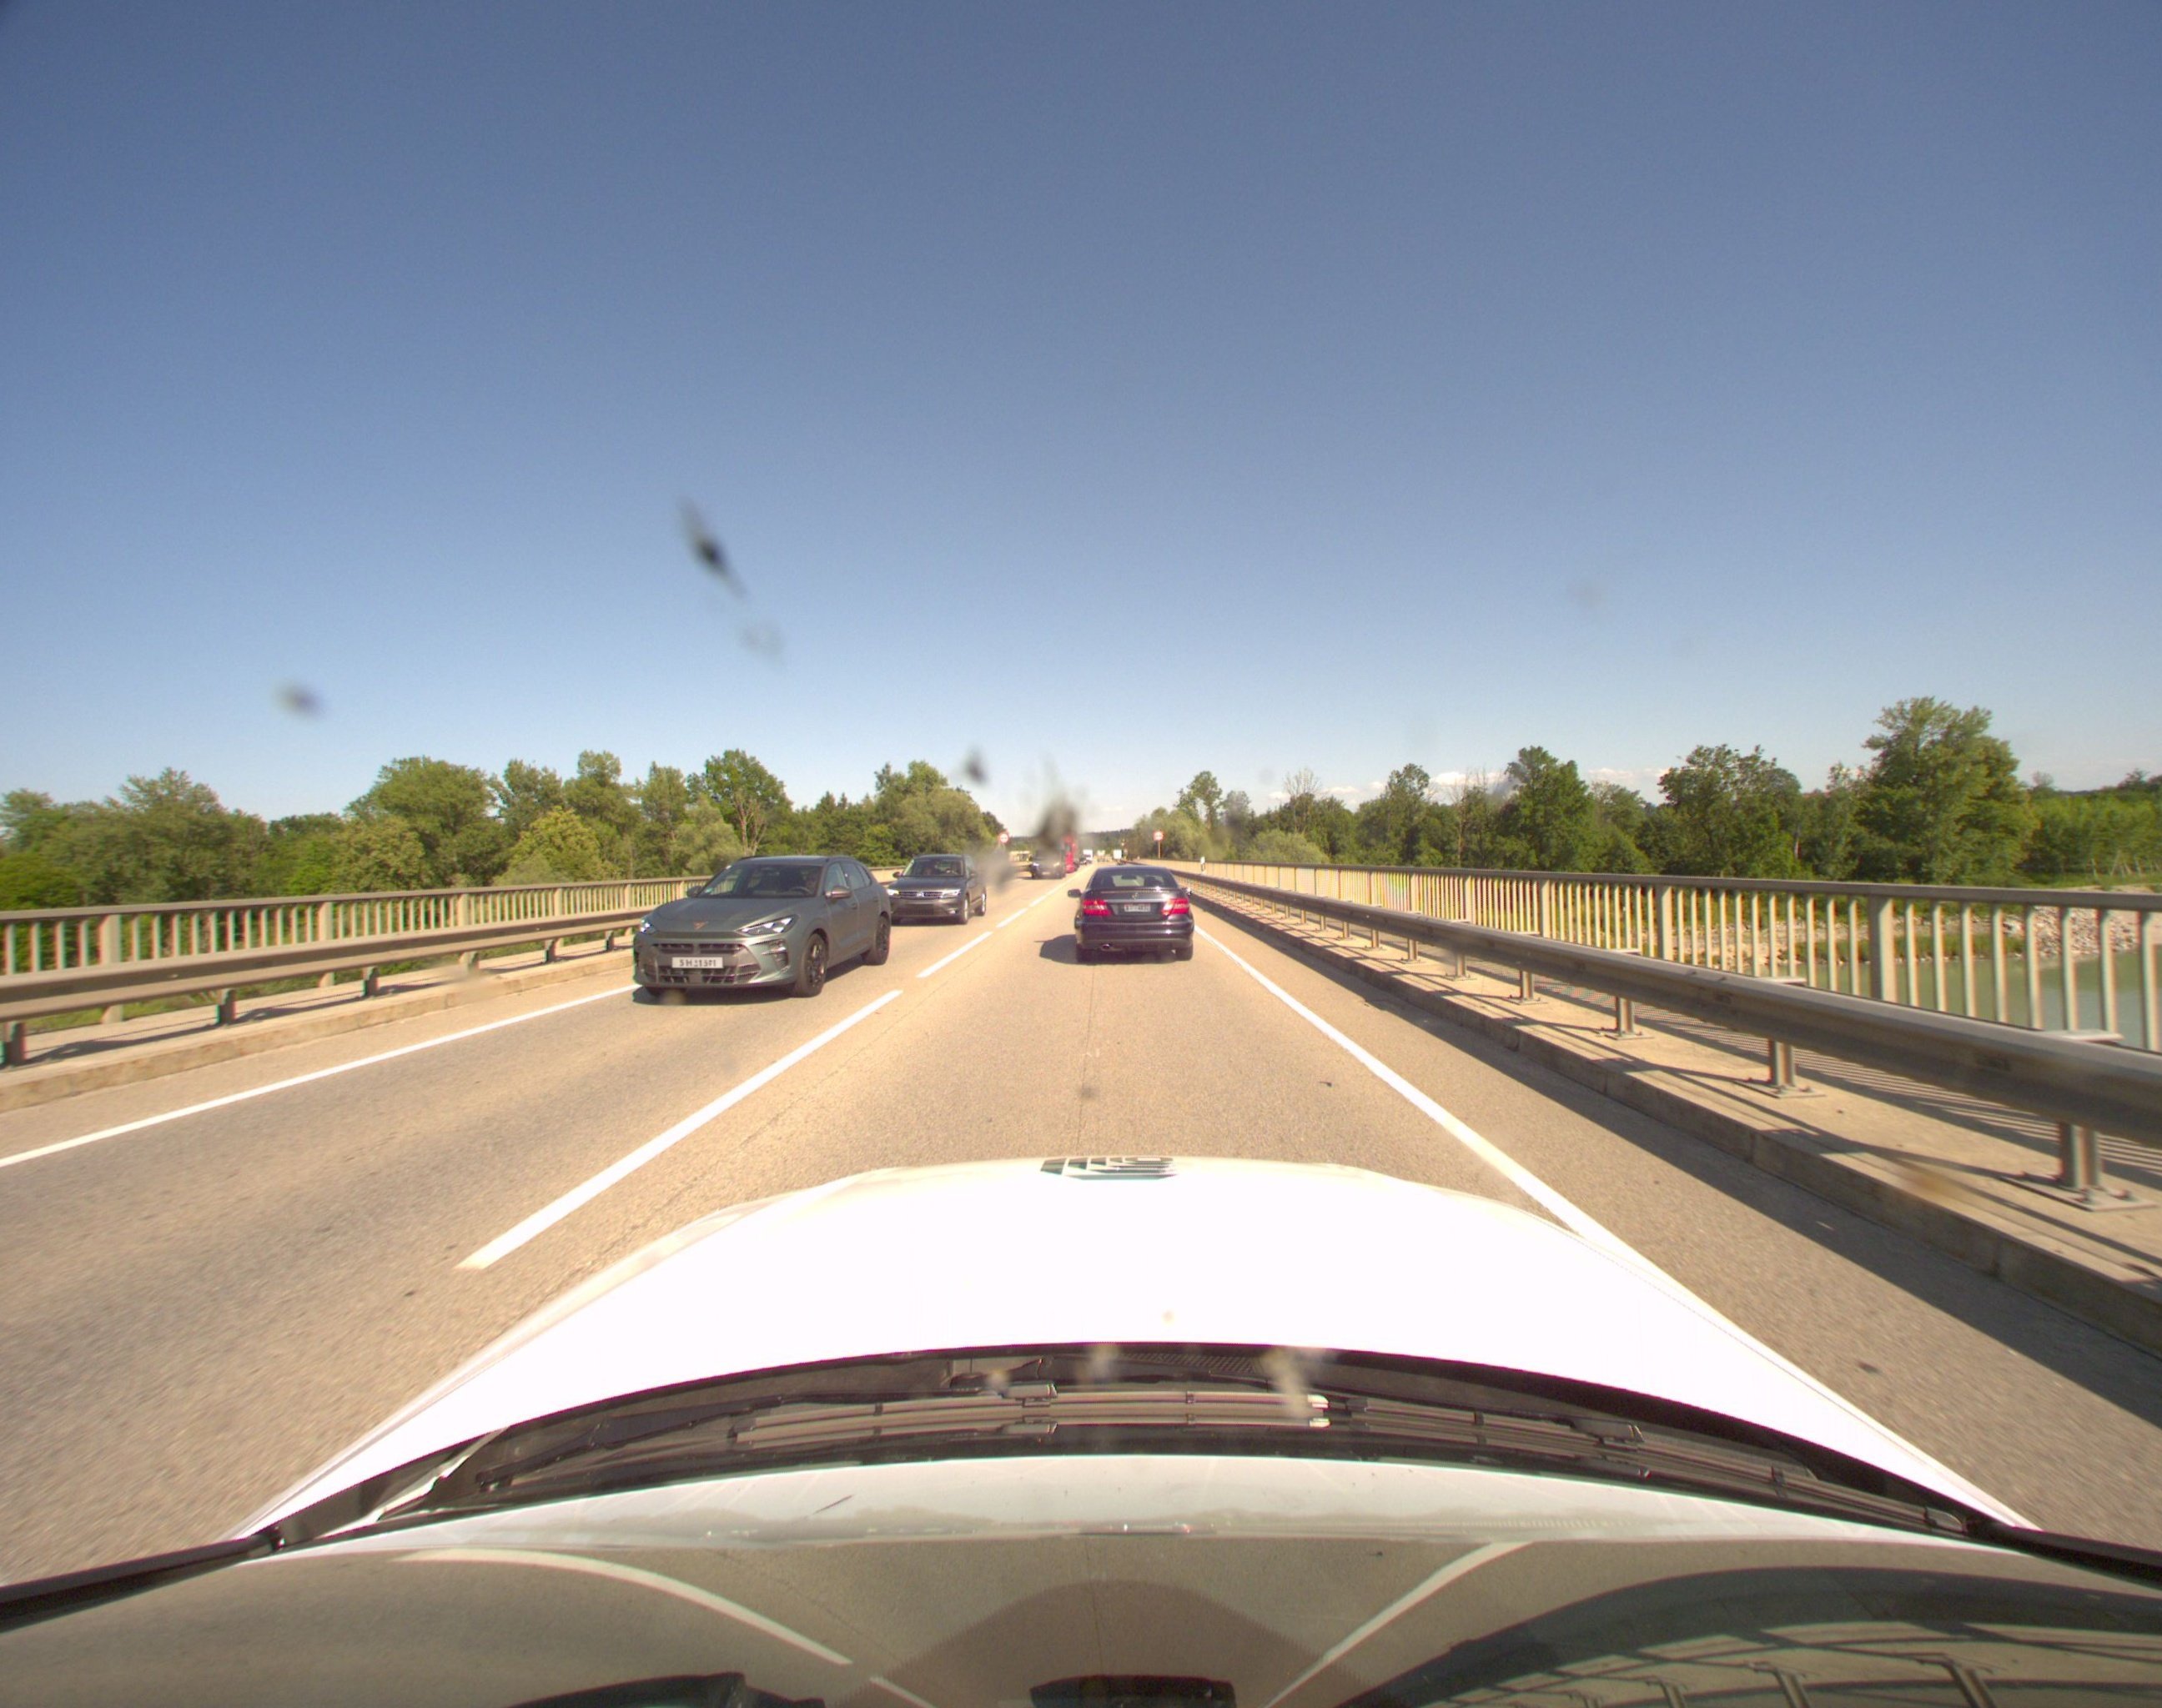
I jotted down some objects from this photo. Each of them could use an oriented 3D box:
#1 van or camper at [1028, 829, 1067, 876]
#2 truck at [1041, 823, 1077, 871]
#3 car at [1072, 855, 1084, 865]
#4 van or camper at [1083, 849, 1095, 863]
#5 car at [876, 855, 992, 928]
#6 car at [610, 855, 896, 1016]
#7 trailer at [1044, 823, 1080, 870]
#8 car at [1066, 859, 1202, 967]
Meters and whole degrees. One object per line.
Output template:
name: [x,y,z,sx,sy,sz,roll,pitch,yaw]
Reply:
van or camper: [-2.256,-0.114,56.669,2.307,3.050,6.818,-1,0,1]
truck: [-1.944,-0.615,75.701,2.897,4.184,5.715,-2,0,2]
car: [-0.579,1.010,146.505,1.837,1.642,4.572,-2,0,-3]
van or camper: [1.987,0.502,195.708,2.624,3.256,7.756,-2,0,3]
car: [-3.440,0.817,19.878,1.867,1.583,4.277,0,0,3]
car: [-3.764,0.820,10.253,1.800,1.577,4.202,0,0,1]
trailer: [-1.746,-0.689,83.336,2.897,4.302,14.306,-2,0,1]
car: [0.814,0.806,12.947,1.786,1.376,4.003,-2,0,3]
